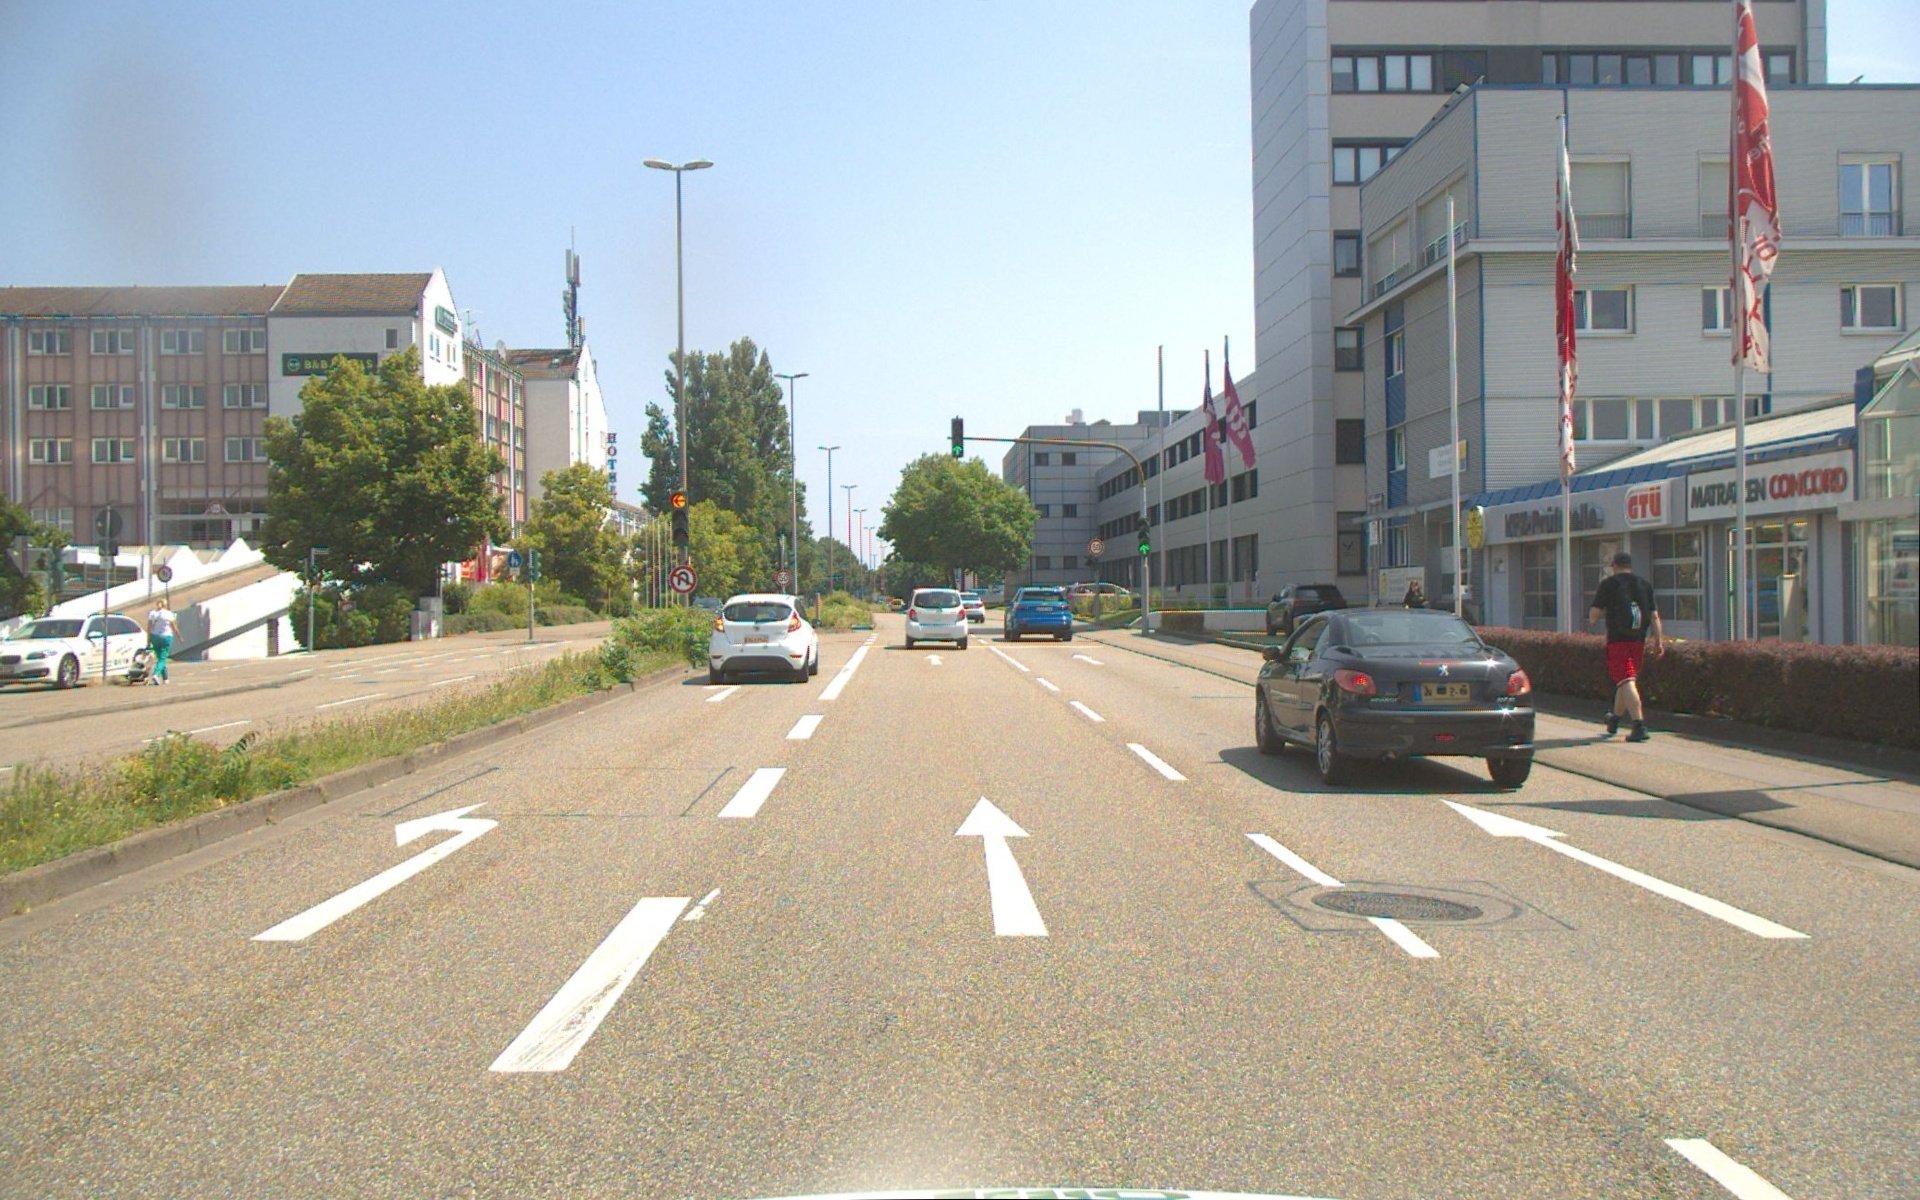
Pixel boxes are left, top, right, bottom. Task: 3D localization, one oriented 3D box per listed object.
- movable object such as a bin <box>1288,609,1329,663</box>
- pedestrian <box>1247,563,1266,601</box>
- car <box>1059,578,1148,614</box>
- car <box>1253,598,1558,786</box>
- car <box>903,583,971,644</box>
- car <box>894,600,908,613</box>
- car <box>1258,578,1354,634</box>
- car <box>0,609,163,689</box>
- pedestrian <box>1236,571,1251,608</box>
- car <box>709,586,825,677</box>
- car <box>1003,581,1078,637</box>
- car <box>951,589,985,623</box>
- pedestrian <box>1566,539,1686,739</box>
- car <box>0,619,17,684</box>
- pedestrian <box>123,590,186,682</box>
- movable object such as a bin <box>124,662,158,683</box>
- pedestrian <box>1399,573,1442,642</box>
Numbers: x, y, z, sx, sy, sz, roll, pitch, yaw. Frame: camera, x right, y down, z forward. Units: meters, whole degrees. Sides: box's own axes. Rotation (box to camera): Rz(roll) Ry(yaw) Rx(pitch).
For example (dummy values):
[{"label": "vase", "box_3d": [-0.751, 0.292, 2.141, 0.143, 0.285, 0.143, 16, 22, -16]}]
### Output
[{"label": "movable object such as a bin", "box_3d": [6.395, 0.662, 30.341, 0.540, 0.935, 0.652, -4, 0, -1]}, {"label": "pedestrian", "box_3d": [13.247, -0.804, 73.916, 0.514, 1.692, 0.752, -1, 0, -20]}, {"label": "car", "box_3d": [7.250, -0.198, 83.814, 4.177, 1.718, 1.997, -1, 0, -7]}, {"label": "car", "box_3d": [3.676, 0.692, 14.269, 1.594, 1.388, 3.604, 0, 0, -1]}, {"label": "car", "box_3d": [-0.590, 0.331, 43.728, 1.712, 1.546, 3.745, 0, 0, -1]}, {"label": "car", "box_3d": [-7.998, 0.820, 224.705, 1.783, 1.691, 3.998, -1, 0, -3]}, {"label": "car", "box_3d": [10.130, 0.169, 48.694, 1.807, 1.558, 4.195, 1, 0, -2]}, {"label": "car", "box_3d": [-18.343, 0.951, 33.771, 1.739, 1.435, 4.759, -1, 0, 1]}, {"label": "pedestrian", "box_3d": [12.958, -0.482, 75.627, 0.580, 1.663, 0.523, -1, 0, 6]}, {"label": "car", "box_3d": [-3.285, 0.499, 28.754, 1.654, 1.459, 3.710, -1, 0, -2]}, {"label": "car", "box_3d": [2.397, 0.240, 50.156, 1.792, 1.608, 3.601, -1, 0, -5]}, {"label": "car", "box_3d": [0.390, 0.263, 78.537, 1.527, 1.546, 3.606, -1, 0, 1]}, {"label": "pedestrian", "box_3d": [6.501, 0.368, 16.185, 0.769, 1.879, 0.936, -1, 0, 0]}, {"label": "car", "box_3d": [-21.325, 1.137, 34.111, 1.698, 1.375, 3.996, -1, 0, -4]}, {"label": "pedestrian", "box_3d": [-15.996, 0.707, 32.852, 0.725, 1.777, 1.033, -1, 0, -1]}, {"label": "movable object such as a bin", "box_3d": [-16.016, 1.421, 32.359, 0.408, 0.378, 0.506, -1, 0, -1]}, {"label": "pedestrian", "box_3d": [11.216, 0.184, 40.283, 0.793, 1.655, 0.853, -1, 0, 1]}]
